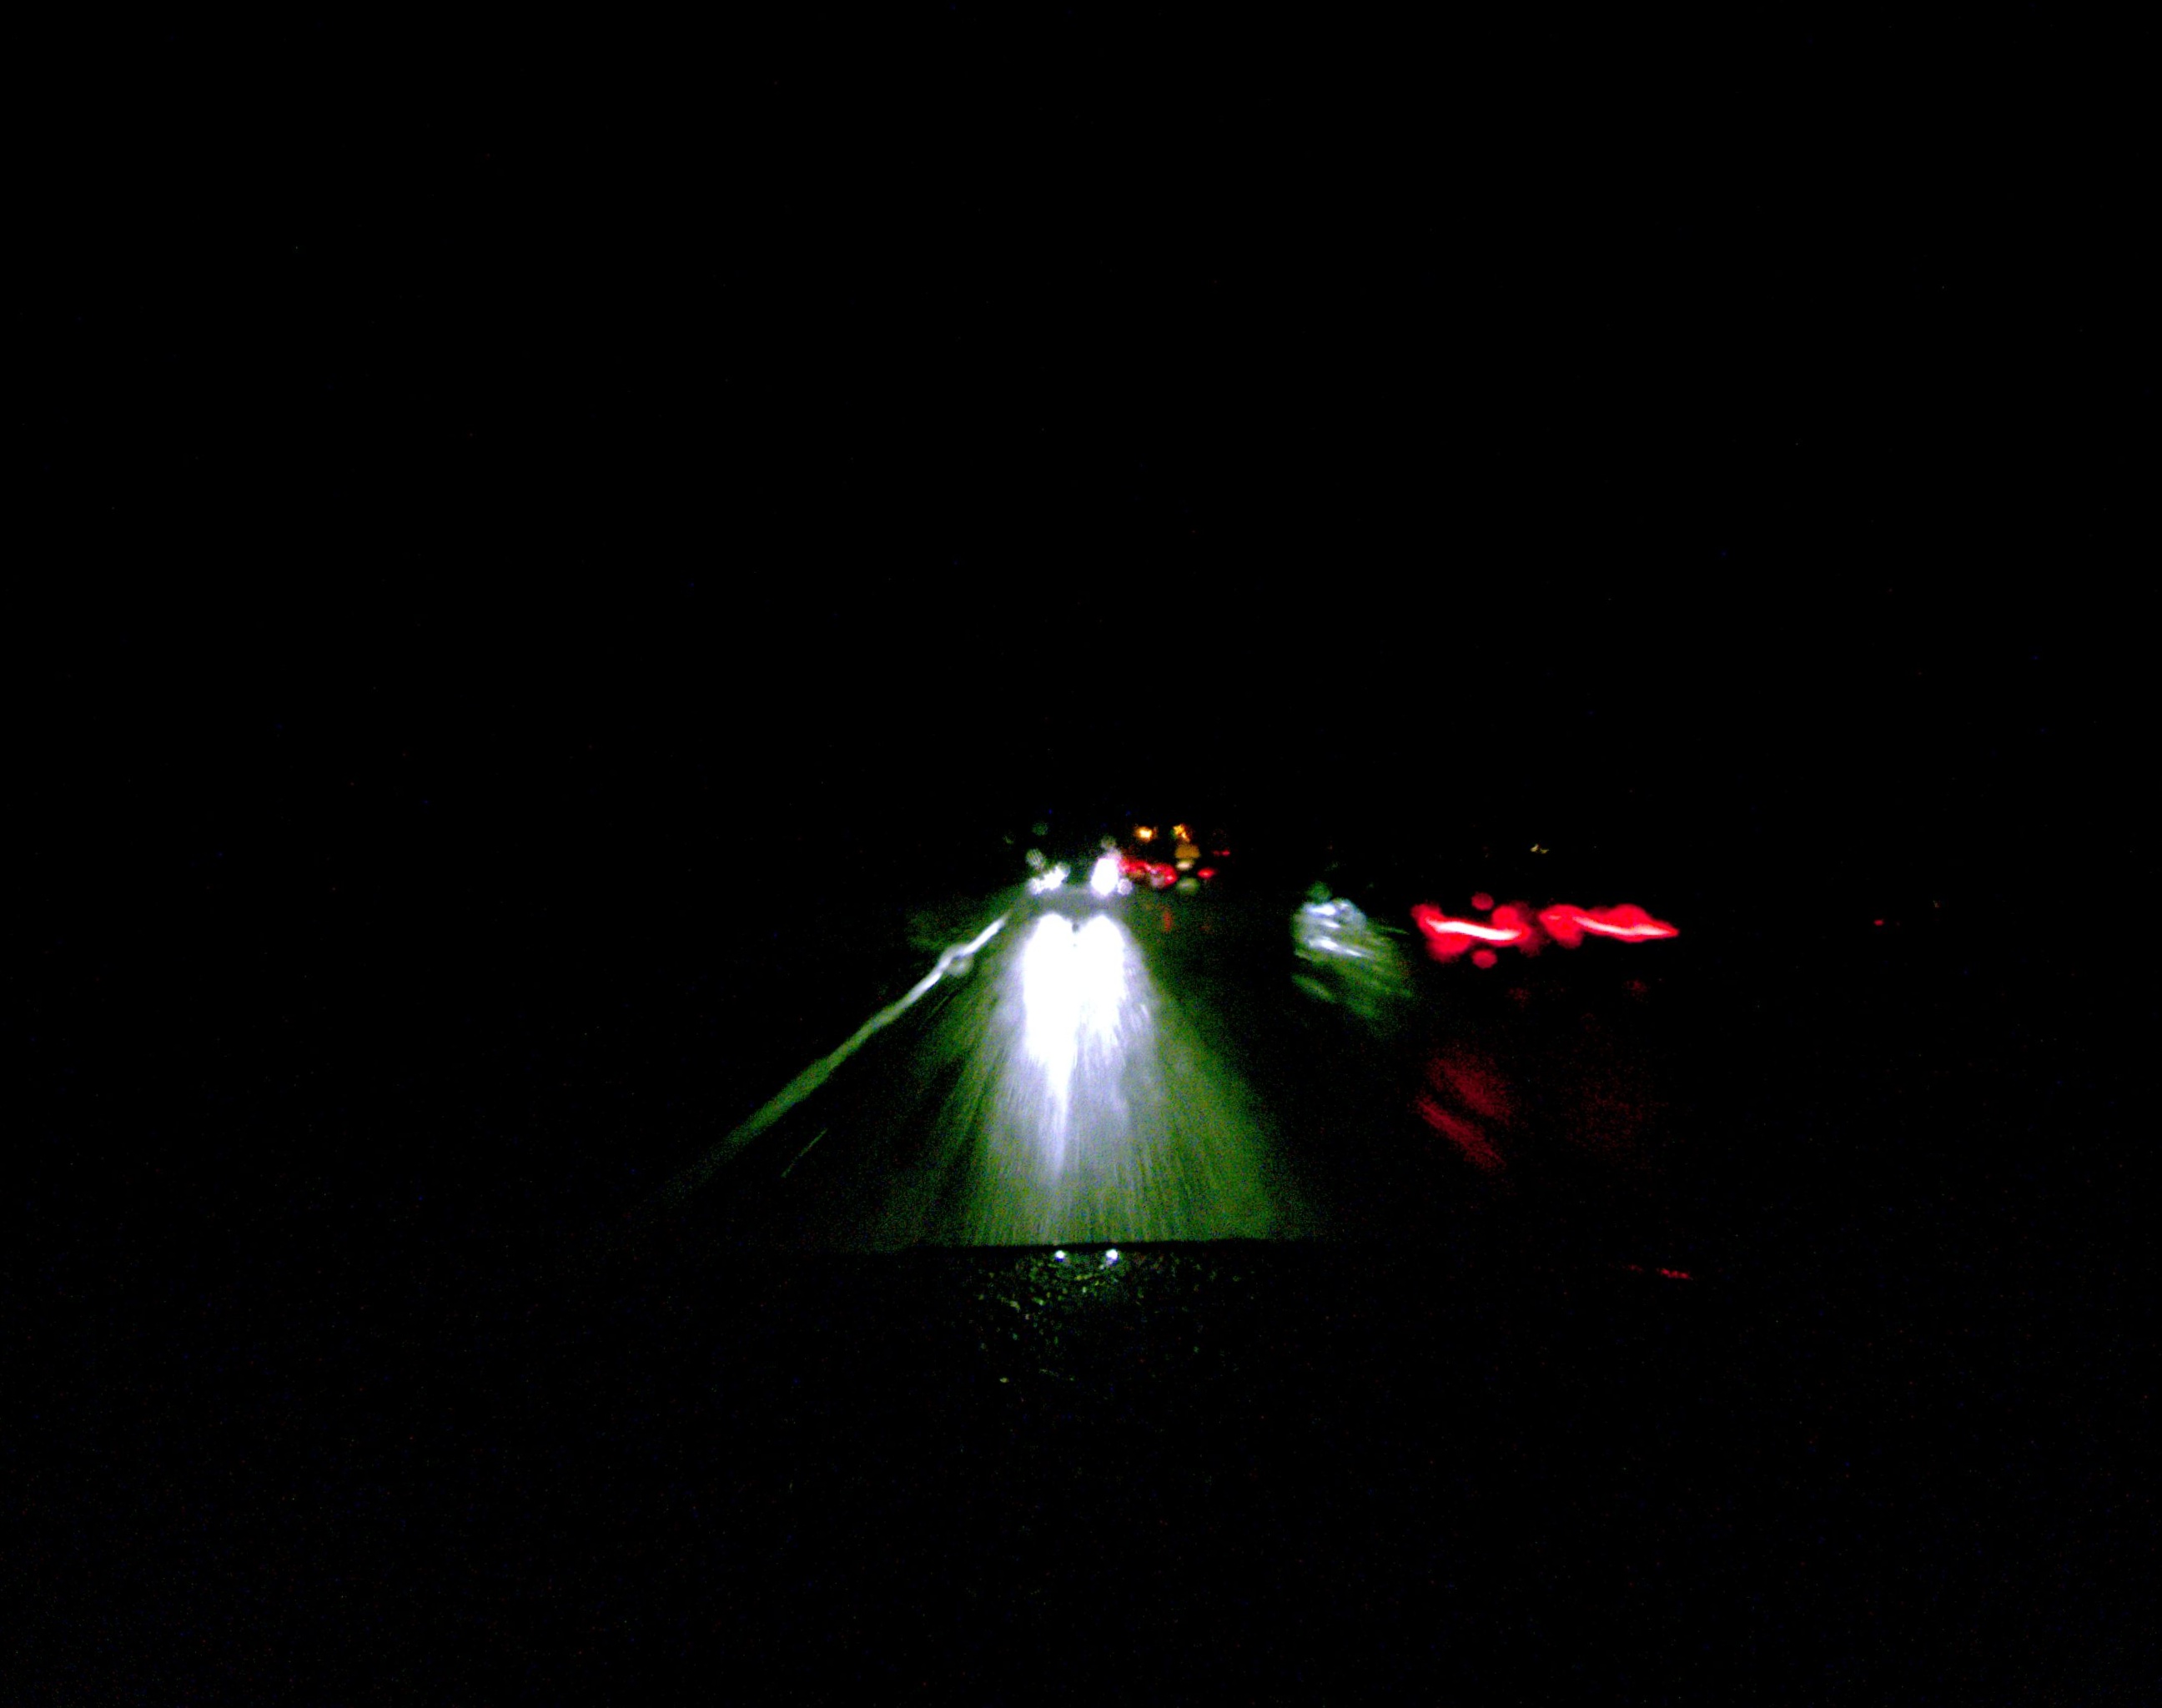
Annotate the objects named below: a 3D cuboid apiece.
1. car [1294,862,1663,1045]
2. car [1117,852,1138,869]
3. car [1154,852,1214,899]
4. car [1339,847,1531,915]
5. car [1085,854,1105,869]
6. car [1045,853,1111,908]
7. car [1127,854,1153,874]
[{"bbox_3d":[3.837,0.832,8.379,1.760,1.397,4.488,-2,0,1],"label":"car"},{"bbox_3d":[4.346,0.574,71.630,1.807,1.563,4.190,0,1,1],"label":"car"},{"bbox_3d":[3.549,0.714,26.727,1.667,1.551,3.560,0,0,0],"label":"car"},{"bbox_3d":[10.804,0.799,23.479,4.945,1.827,1.934,2,1,3],"label":"car"},{"bbox_3d":[1.610,0.819,85.472,1.900,1.552,4.001,0,1,6],"label":"car"},{"bbox_3d":[-0.029,0.769,24.011,1.901,1.552,4.000,0,1,1],"label":"car"},{"bbox_3d":[4.242,0.699,55.167,1.602,1.416,3.552,0,1,1],"label":"car"}]
